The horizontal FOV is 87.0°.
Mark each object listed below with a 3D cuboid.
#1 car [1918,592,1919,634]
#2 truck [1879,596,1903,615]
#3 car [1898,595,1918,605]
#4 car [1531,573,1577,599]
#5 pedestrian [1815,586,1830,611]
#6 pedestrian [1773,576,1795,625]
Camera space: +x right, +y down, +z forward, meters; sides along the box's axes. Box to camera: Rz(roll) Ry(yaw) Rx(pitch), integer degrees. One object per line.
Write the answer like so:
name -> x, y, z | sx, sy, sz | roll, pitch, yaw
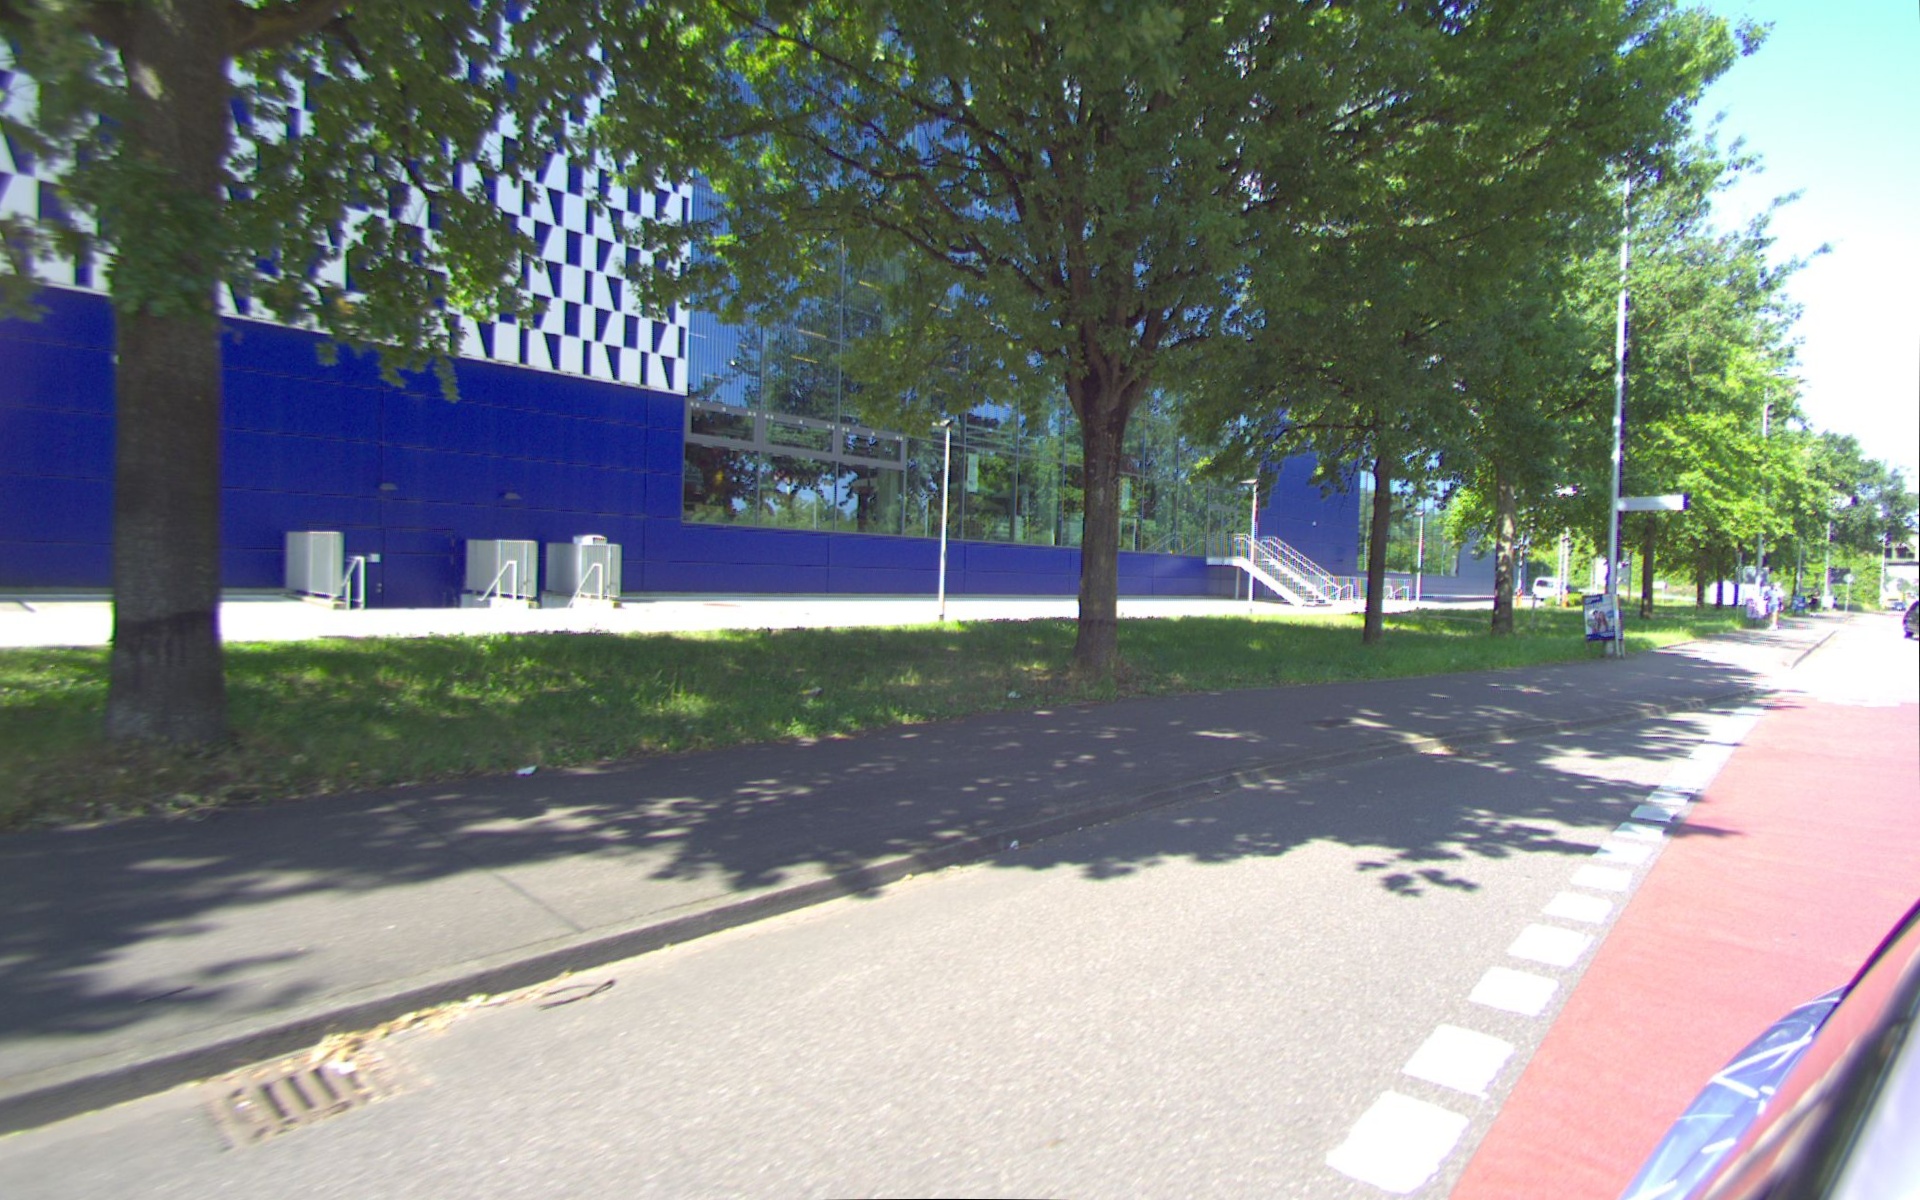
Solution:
car -> 34.970, 0.514, 35.315 | 1.903, 1.539, 4.311 | 3, 2, 40
truck -> 151.396, 0.932, 164.616 | 2.398, 2.899, 5.725 | 0, -1, 37
car -> 143.045, -0.019, 152.725 | 1.815, 1.371, 3.943 | 3, 2, 39
car -> 45.127, -1.052, 76.856 | 4.110, 1.851, 1.908 | 0, 2, -43
pedestrian -> 56.437, -0.100, 66.239 | 0.647, 1.623, 0.833 | 3, 2, 44
pedestrian -> 31.653, 0.023, 38.873 | 0.535, 1.864, 0.716 | 3, 2, 43
